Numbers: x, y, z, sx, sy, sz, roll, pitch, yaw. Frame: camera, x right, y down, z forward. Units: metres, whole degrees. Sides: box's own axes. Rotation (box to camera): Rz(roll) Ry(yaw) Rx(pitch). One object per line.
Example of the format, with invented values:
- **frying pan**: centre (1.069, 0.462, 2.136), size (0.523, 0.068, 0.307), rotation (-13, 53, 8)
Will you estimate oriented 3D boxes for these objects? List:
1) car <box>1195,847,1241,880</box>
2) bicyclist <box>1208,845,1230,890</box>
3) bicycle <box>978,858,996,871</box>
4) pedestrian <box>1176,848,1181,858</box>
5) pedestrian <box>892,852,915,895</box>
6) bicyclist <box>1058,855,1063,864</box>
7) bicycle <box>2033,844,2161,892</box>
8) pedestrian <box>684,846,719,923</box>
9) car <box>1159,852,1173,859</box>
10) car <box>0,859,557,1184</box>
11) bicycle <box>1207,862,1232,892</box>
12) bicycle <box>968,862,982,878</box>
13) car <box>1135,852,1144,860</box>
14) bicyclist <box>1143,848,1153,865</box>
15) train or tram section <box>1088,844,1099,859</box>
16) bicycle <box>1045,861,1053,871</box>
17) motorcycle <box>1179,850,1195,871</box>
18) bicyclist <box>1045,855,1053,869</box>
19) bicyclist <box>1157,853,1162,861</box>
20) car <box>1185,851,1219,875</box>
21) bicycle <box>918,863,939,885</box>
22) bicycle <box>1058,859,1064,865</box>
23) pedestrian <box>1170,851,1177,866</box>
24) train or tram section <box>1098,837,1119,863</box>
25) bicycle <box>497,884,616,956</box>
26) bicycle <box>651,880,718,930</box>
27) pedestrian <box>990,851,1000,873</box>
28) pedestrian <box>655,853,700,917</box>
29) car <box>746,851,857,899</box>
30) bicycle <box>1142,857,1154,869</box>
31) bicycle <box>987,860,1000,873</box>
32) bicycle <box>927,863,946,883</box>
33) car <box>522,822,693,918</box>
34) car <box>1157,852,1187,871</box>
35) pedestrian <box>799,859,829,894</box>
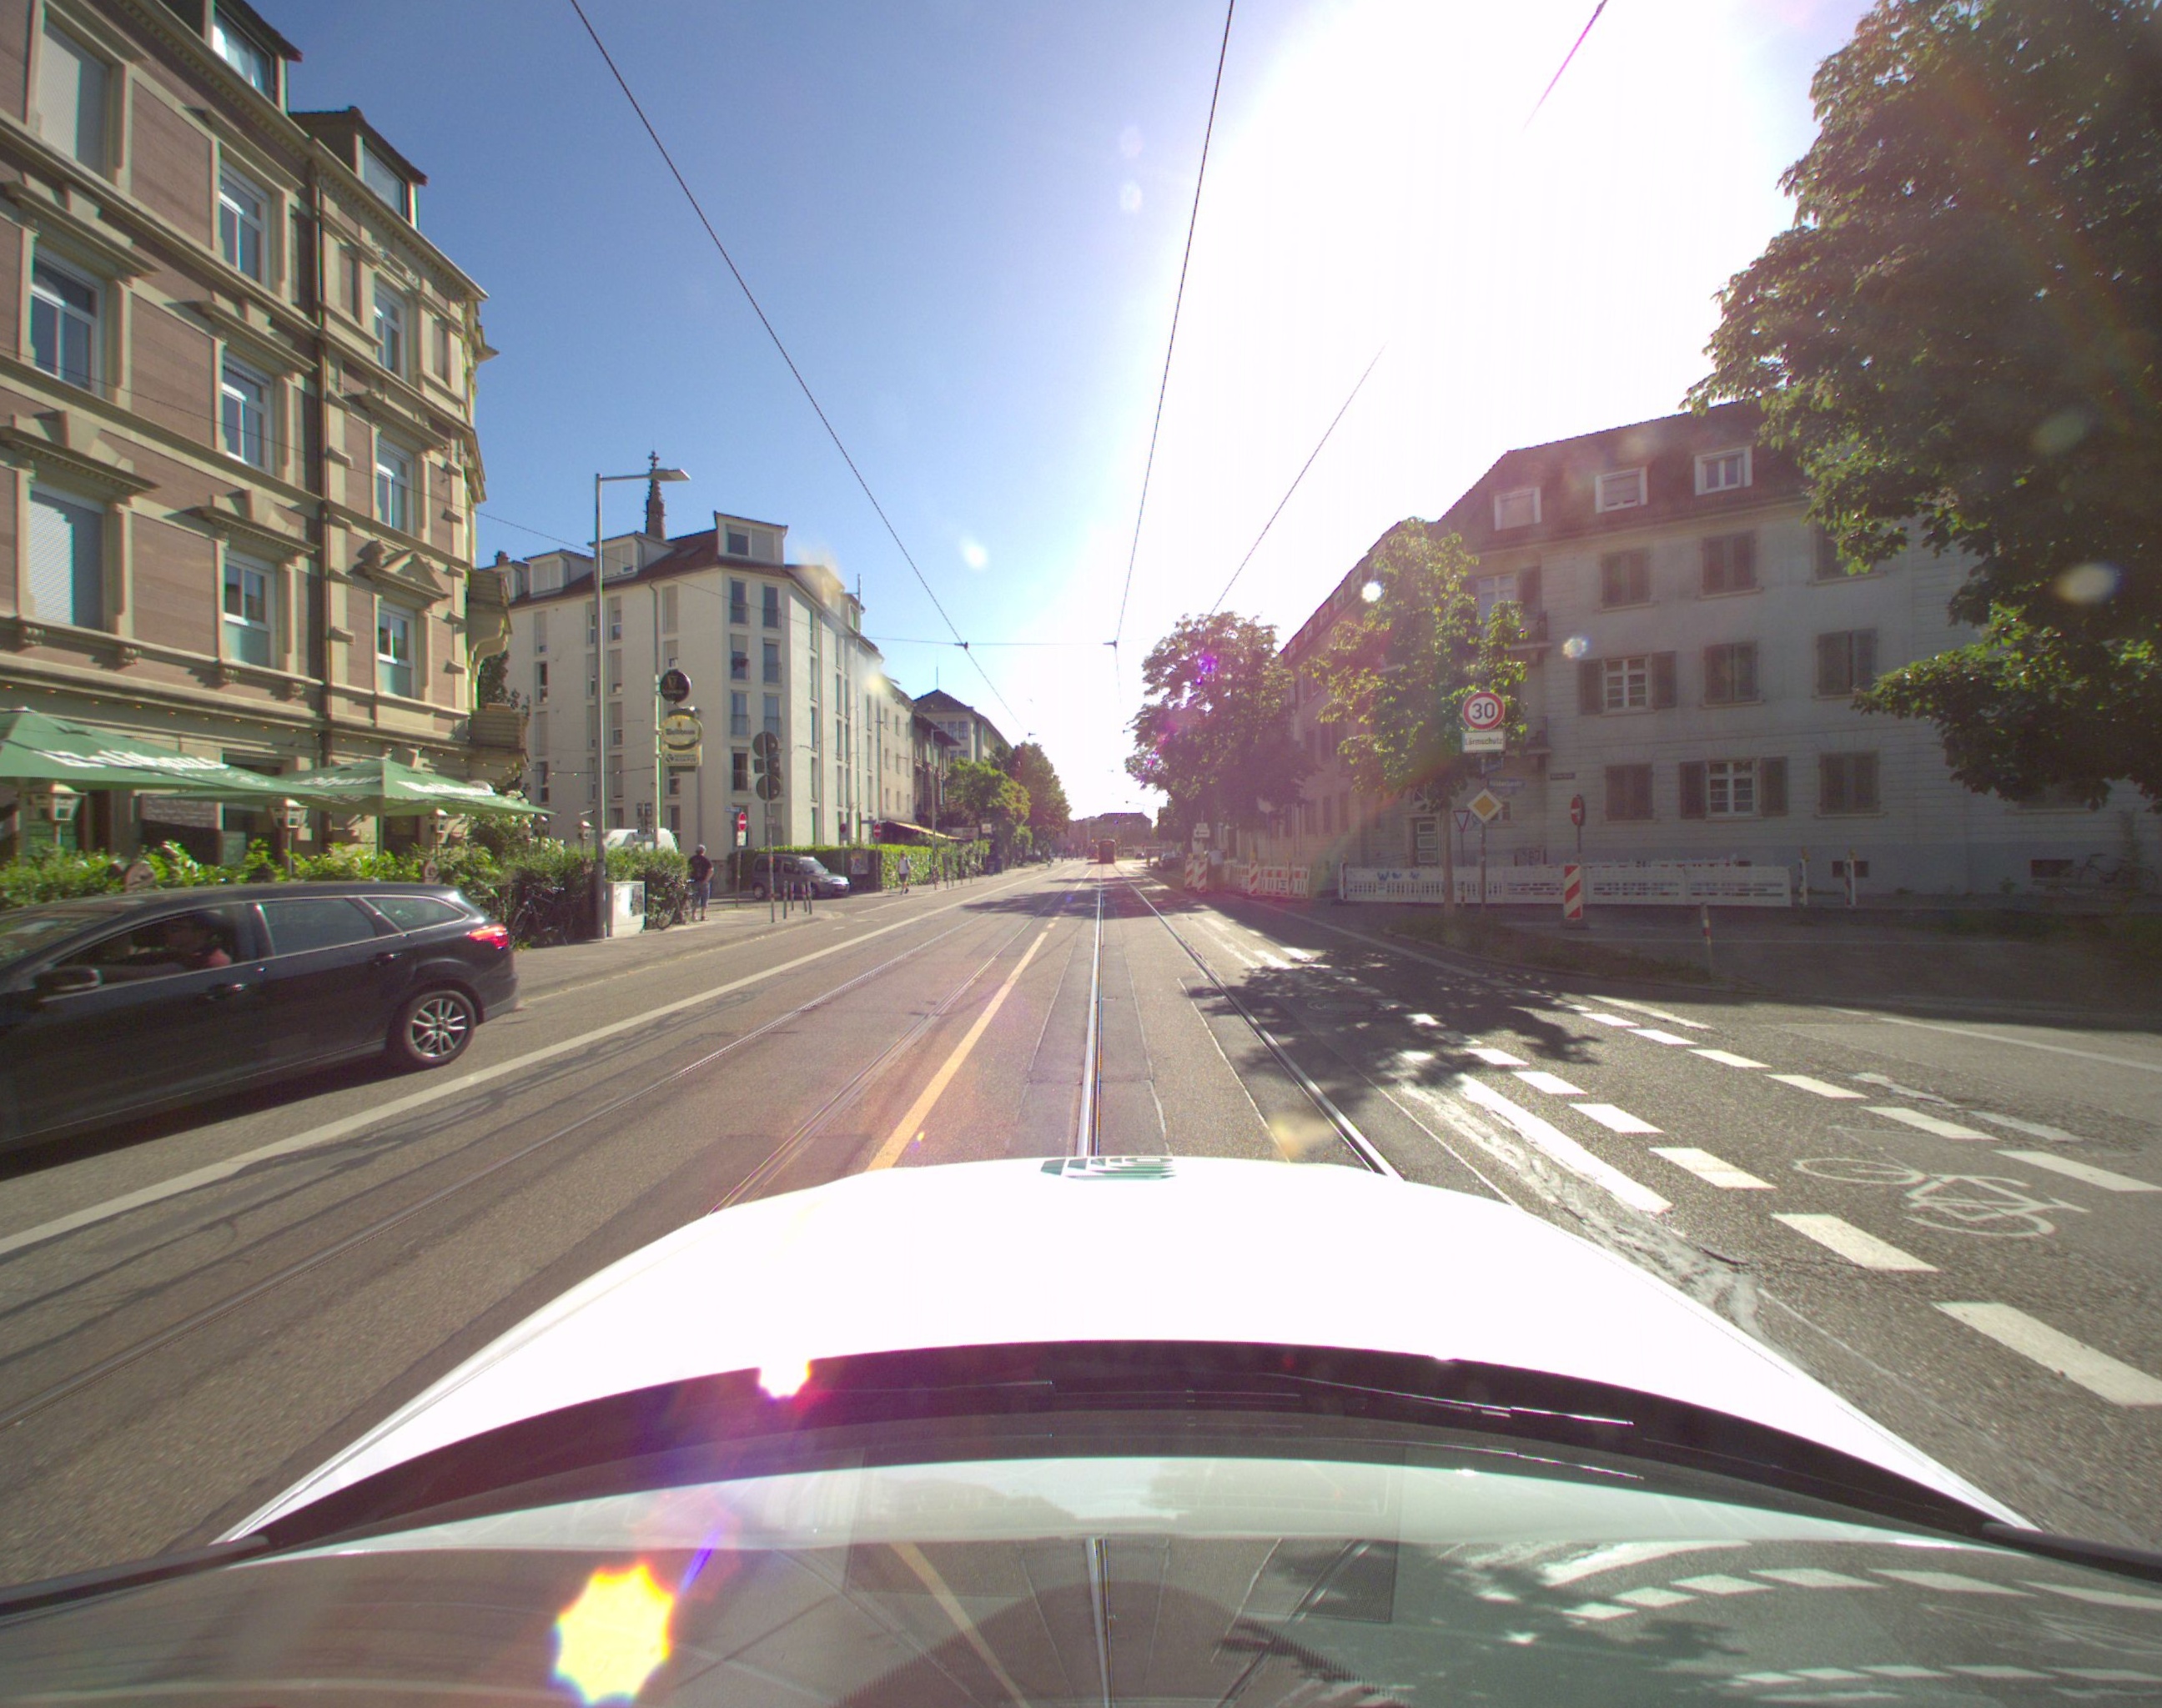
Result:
- **car**: centre (7.309, 0.475, 43.912), size (1.803, 1.626, 4.586), rotation (-3, 0, 2)
- **bicyclist**: centre (5.295, 0.504, 31.269), size (0.735, 1.686, 0.972), rotation (0, 0, 3)
- **bicycle**: centre (-7.932, 0.885, 68.801), size (0.631, 1.045, 2.031), rotation (-1, 0, 18)
- **pedestrian**: centre (18.189, -0.239, 152.103), size (0.635, 1.903, 1.135), rotation (-3, 0, 3)
- **pedestrian**: centre (-7.434, 0.809, 34.134), size (0.689, 1.768, 0.867), rotation (-1, 0, 2)
- **bicyclist**: centre (-3.770, 1.019, 152.777), size (0.683, 1.644, 1.239), rotation (-3, 0, 6)
- **bicycle**: centre (25.515, 0.345, 19.825), size (3.073, 1.112, 0.529), rotation (-1, 3, 28)
- **pedestrian**: centre (-8.977, 0.705, 19.282), size (0.555, 1.781, 0.538), rotation (-1, -1, -2)
- **car**: centre (19.951, 0.246, 191.558), size (1.685, 1.643, 3.736), rotation (0, 0, 36)
- **car**: centre (-6.153, 0.904, 5.287), size (1.852, 1.576, 4.603), rotation (-3, 0, 11)
- **bicycle**: centre (5.291, 0.861, 31.279), size (0.735, 1.094, 2.113), rotation (0, 0, 3)
- **bicycle**: centre (-7.534, 1.109, 57.892), size (0.636, 1.059, 1.744), rotation (1, 0, 3)
- **car**: centre (12.168, 0.331, 169.102), size (1.780, 1.604, 3.719), rotation (0, 0, 6)
- **bicyclist**: centre (6.522, 0.211, 79.136), size (0.699, 1.675, 1.107), rotation (1, 0, 21)
- **train or tram section**: centre (3.180, -0.673, 208.785), size (2.732, 3.651, 13.787), rotation (-1, 0, 1)
- **bicycle**: centre (-3.622, 1.386, 92.362), size (0.742, 1.082, 1.900), rotation (-4, 0, 3)
- **motorcycle**: centre (7.832, 0.497, 60.272), size (0.910, 1.488, 2.681), rotation (-3, 0, 3)
- **bicyclist**: centre (-3.655, 0.912, 92.365), size (0.742, 1.599, 1.118), rotation (-4, 0, 3)
- **bicyclist**: centre (16.537, 0.647, 171.420), size (0.698, 1.700, 0.993), rotation (1, 1, 26)
- **car**: centre (7.663, 0.561, 51.870), size (1.716, 1.382, 4.359), rotation (-3, 0, 3)
- **bicycle**: centre (-8.087, 1.049, 43.345), size (0.659, 1.089, 1.841), rotation (2, -1, 2)
- **bicycle**: centre (-3.741, 1.444, 152.793), size (0.683, 1.124, 1.934), rotation (-3, 0, 6)
- **pedestrian**: centre (11.599, 0.528, 101.774), size (0.681, 1.849, 0.955), rotation (-2, 0, 0)
- **train or tram section**: centre (3.984, -0.629, 121.108), size (2.732, 3.651, 13.787), rotation (-1, 0, 1)
- **bicycle**: centre (-8.880, 1.083, 13.910), size (0.511, 1.038, 2.224), rotation (-1, 0, 2)
- **bicycle**: centre (-8.607, 1.081, 17.764), size (0.525, 0.981, 1.778), rotation (-1, 0, 2)
- **pedestrian**: centre (-7.250, 0.643, 68.591), size (0.570, 1.831, 0.693), rotation (-1, 0, 20)
- **pedestrian**: centre (-10.787, 0.821, 21.783), size (0.697, 1.654, 0.838), rotation (-2, -2, 33)
- **car**: centre (-11.272, 0.871, 32.839), size (4.005, 1.807, 1.801), rotation (-2, -2, 22)
- **bicycle**: centre (6.519, 0.865, 79.143), size (0.699, 1.104, 1.726), rotation (1, 1, 21)
- **bicycle**: centre (-7.551, 1.062, 70.325), size (0.642, 1.143, 1.910), rotation (1, 0, 10)
- **bicycle**: centre (-8.039, 1.057, 45.380), size (0.659, 1.089, 1.841), rotation (2, -1, 2)
- **car**: centre (-15.316, 0.530, 26.702), size (1.871, 2.841, 4.806), rotation (-2, -1, 18)
- **car**: centre (7.595, 0.571, 68.551), size (1.817, 1.458, 4.815), rotation (-3, 0, -2)
- **pedestrian**: centre (-11.711, 0.988, 35.772), size (0.945, 1.478, 0.761), rotation (1, 0, 20)
